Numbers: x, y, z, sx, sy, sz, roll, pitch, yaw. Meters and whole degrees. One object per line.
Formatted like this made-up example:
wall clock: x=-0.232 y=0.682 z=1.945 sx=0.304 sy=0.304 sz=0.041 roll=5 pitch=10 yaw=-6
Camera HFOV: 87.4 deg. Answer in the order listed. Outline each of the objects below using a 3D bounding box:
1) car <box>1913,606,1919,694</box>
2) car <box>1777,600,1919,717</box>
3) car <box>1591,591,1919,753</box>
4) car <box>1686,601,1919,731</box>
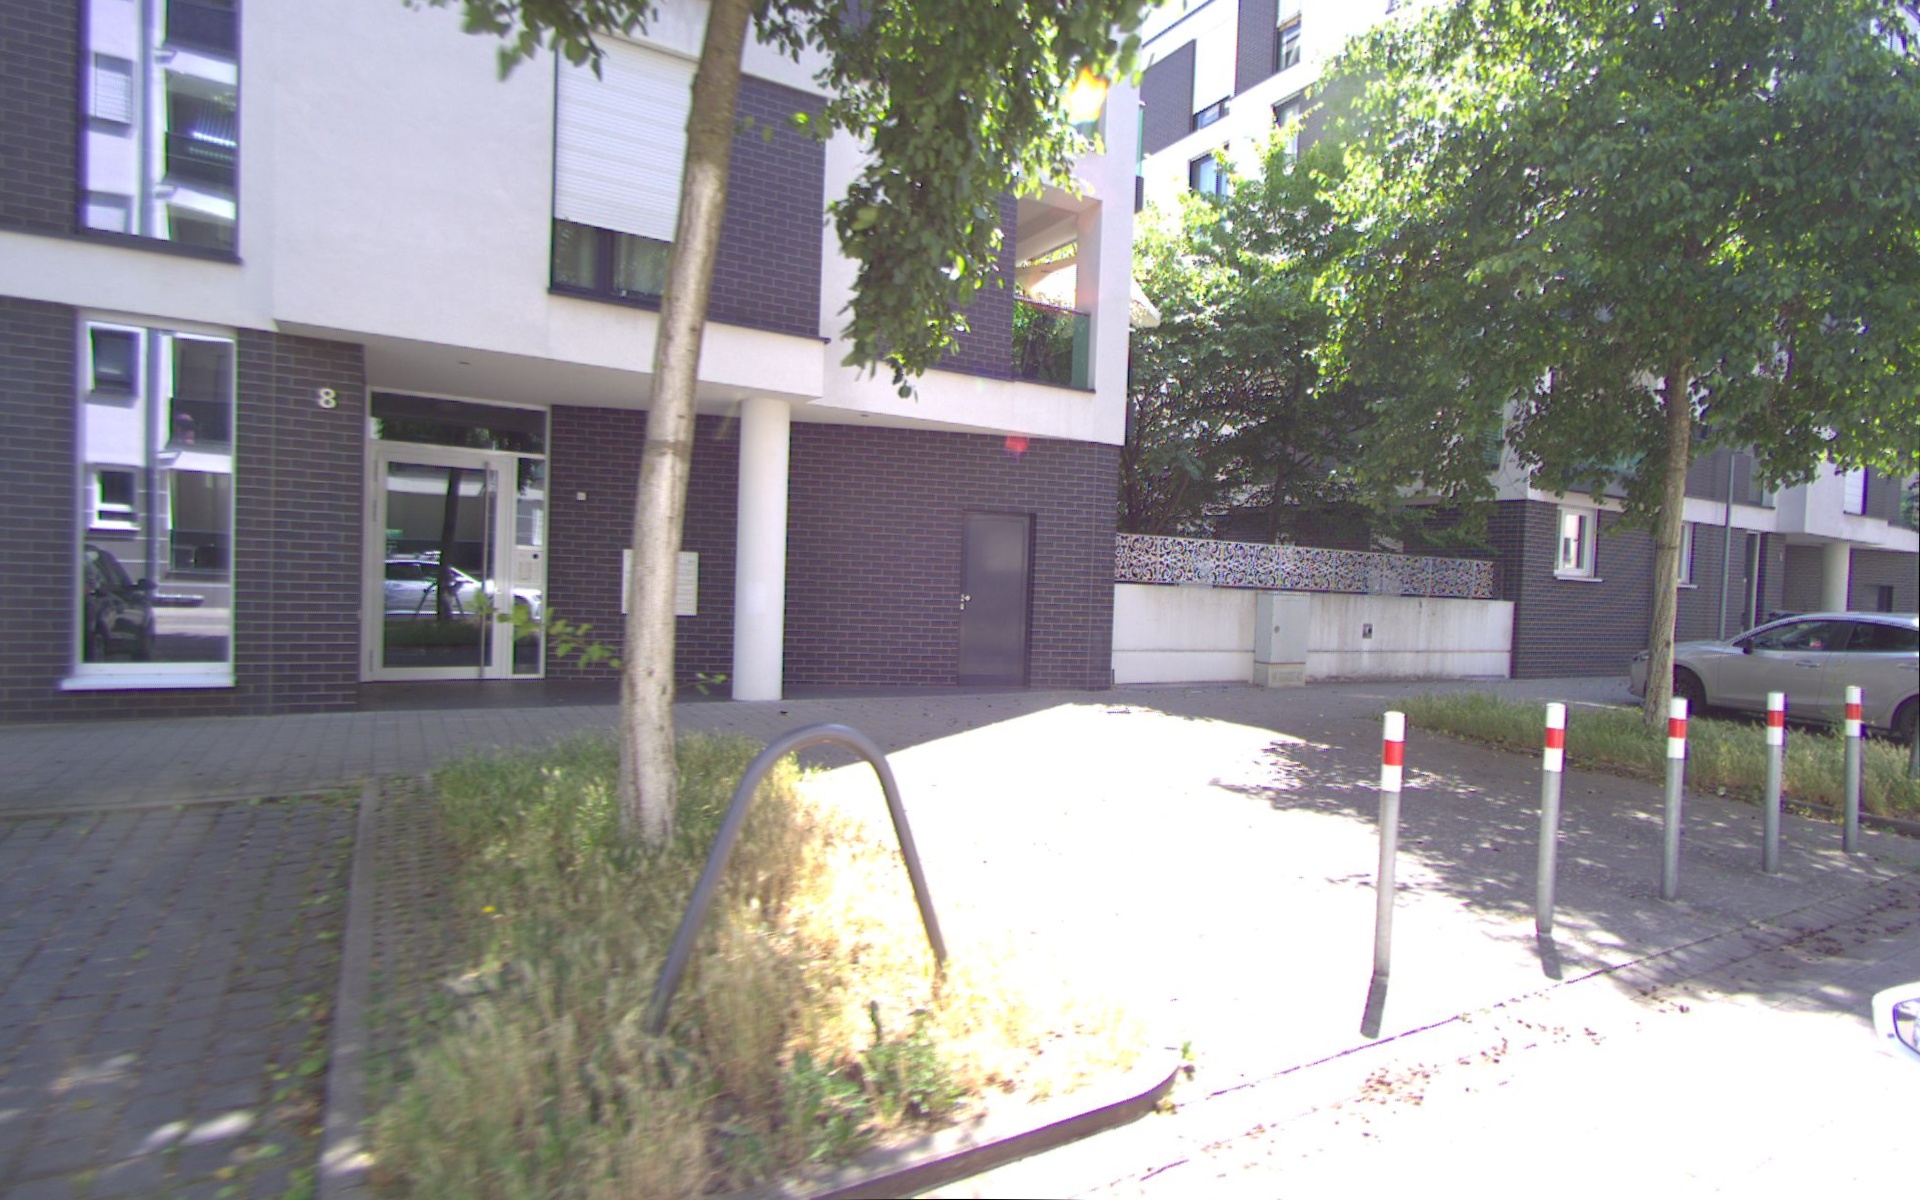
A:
car: x=19.292 y=1.013 z=17.137 sx=1.910 sy=1.651 sz=3.968 roll=2 pitch=3 yaw=-30
car: x=14.978 y=0.934 z=14.912 sx=1.861 sy=1.613 sz=3.968 roll=1 pitch=3 yaw=-29
car: x=10.640 y=0.821 z=12.536 sx=1.902 sy=1.538 sz=4.231 roll=2 pitch=3 yaw=-30
car: x=12.777 y=0.910 z=13.665 sx=1.771 sy=1.496 sz=4.295 roll=1 pitch=3 yaw=-30
